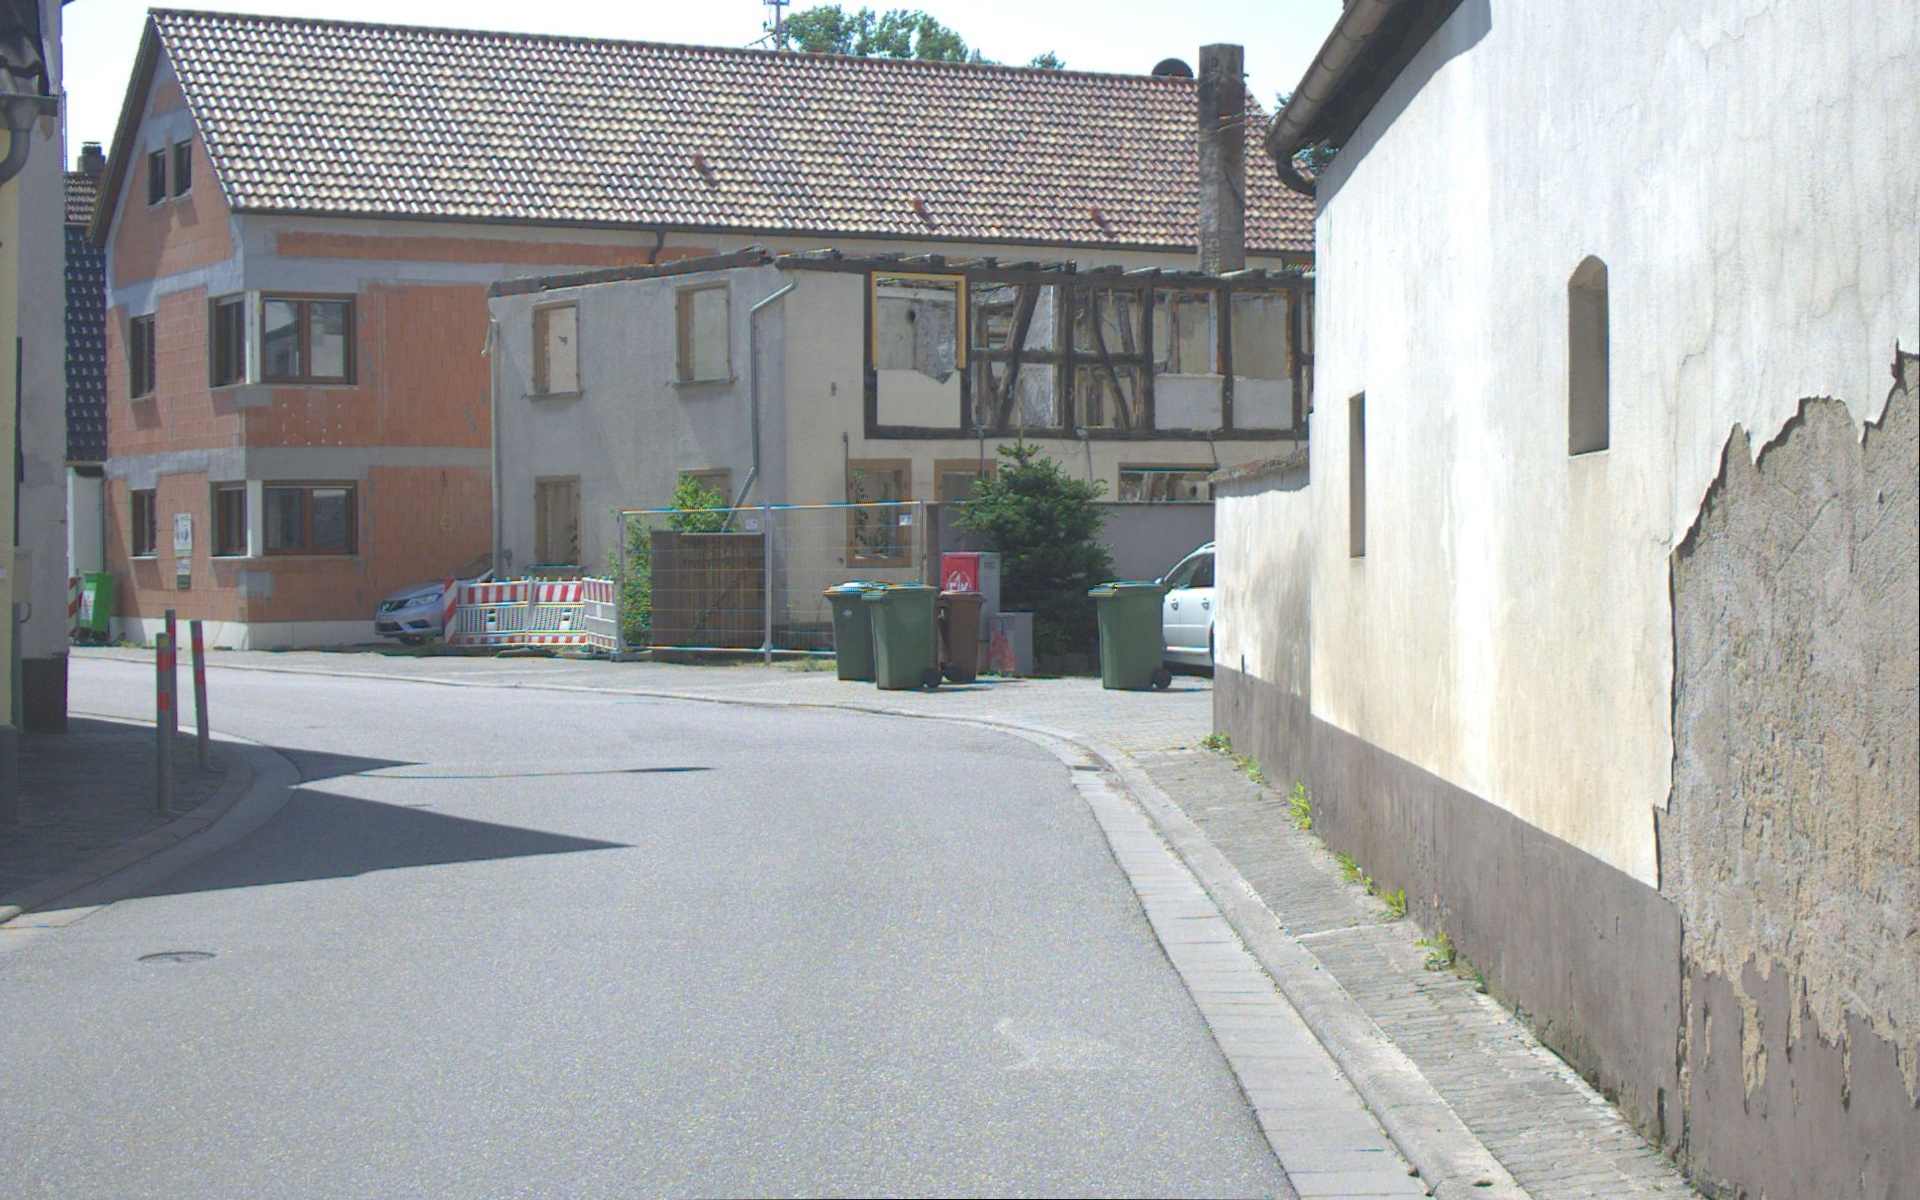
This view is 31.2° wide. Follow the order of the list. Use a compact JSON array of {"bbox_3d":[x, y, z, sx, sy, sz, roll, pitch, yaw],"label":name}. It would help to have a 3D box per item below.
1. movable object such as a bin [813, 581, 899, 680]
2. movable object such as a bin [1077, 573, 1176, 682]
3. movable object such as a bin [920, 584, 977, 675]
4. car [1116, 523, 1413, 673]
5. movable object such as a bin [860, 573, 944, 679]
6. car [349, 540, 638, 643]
[{"bbox_3d":[-1.149,0.329,38.116,0.671,1.068,0.760,0,1,27],"label":"movable object such as a bin"},{"bbox_3d":[1.682,0.268,34.795,0.720,1.077,0.755,0,1,-26],"label":"movable object such as a bin"},{"bbox_3d":[-0.125,0.317,37.217,0.465,0.967,0.496,0,1,-24],"label":"movable object such as a bin"},{"bbox_3d":[3.246,-0.068,37.525,1.810,1.523,4.298,-1,1,-16],"label":"car"},{"bbox_3d":[-0.604,0.268,35.865,0.686,1.088,0.638,0,1,-23],"label":"movable object such as a bin"},{"bbox_3d":[-7.312,-0.155,54.038,4.089,1.502,1.870,-2,1,-36],"label":"car"}]
